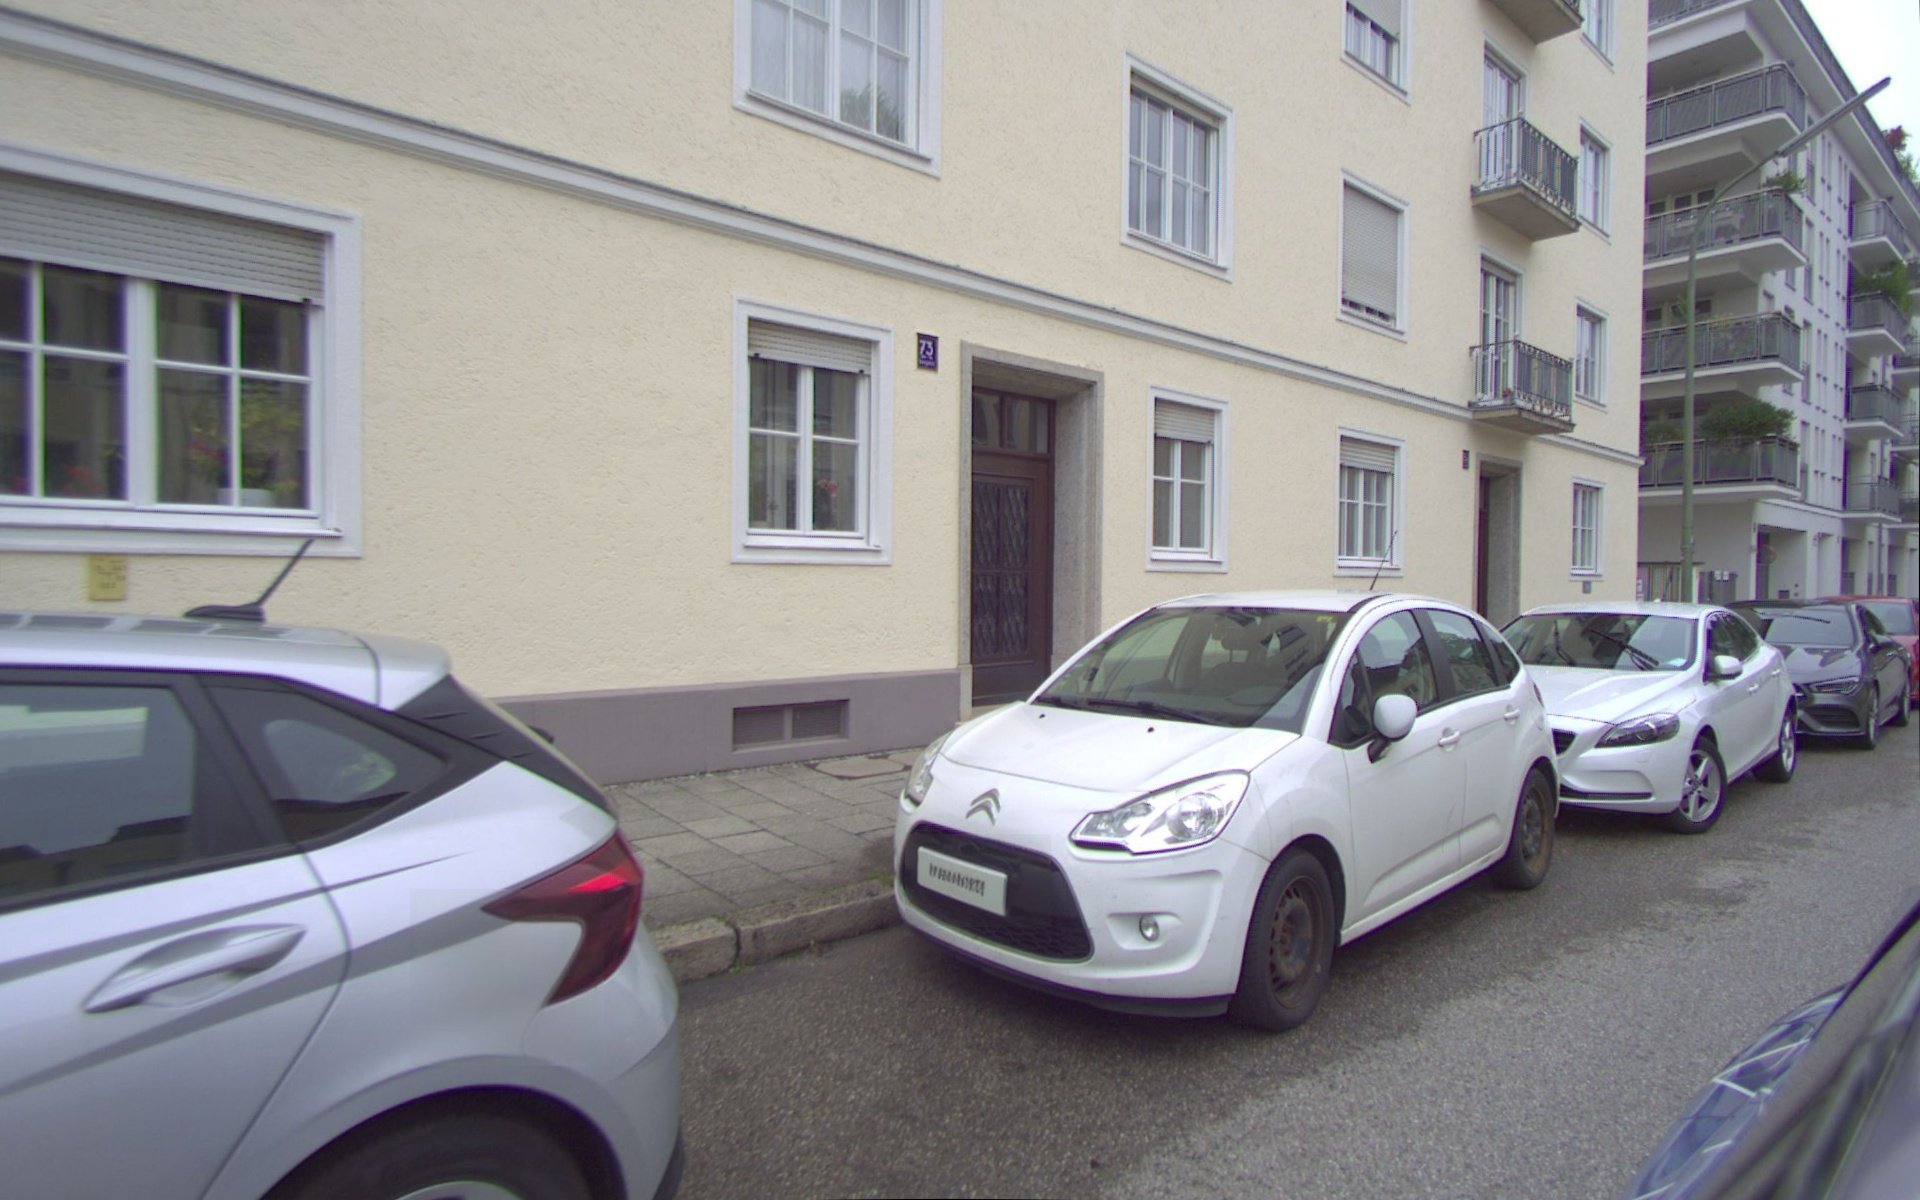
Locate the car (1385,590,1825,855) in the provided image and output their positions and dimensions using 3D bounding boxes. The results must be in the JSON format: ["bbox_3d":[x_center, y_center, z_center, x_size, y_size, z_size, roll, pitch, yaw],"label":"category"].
[{"bbox_3d":[5.071,0.656,7.678,4.366,1.427,1.682,-1,1,-41],"label":"car"}]

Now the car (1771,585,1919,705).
[{"bbox_3d":[13.175,0.544,14.601,3.758,1.516,1.682,-1,1,-41],"label":"car"}]

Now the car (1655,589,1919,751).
[{"bbox_3d":[9.282,0.606,11.144,4.345,1.427,1.682,-1,1,-41],"label":"car"}]

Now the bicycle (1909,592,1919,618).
[{"bbox_3d":[39.167,0.200,40.897,1.913,1.027,0.582,-1,0,-27],"label":"bicycle"}]

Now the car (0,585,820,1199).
[{"bbox_3d":[-2.359,0.709,1.330,4.096,1.445,1.681,-1,1,-42],"label":"car"}]

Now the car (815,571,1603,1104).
[{"bbox_3d":[1.483,0.630,4.852,4.096,1.500,1.681,-1,1,-42],"label":"car"}]
